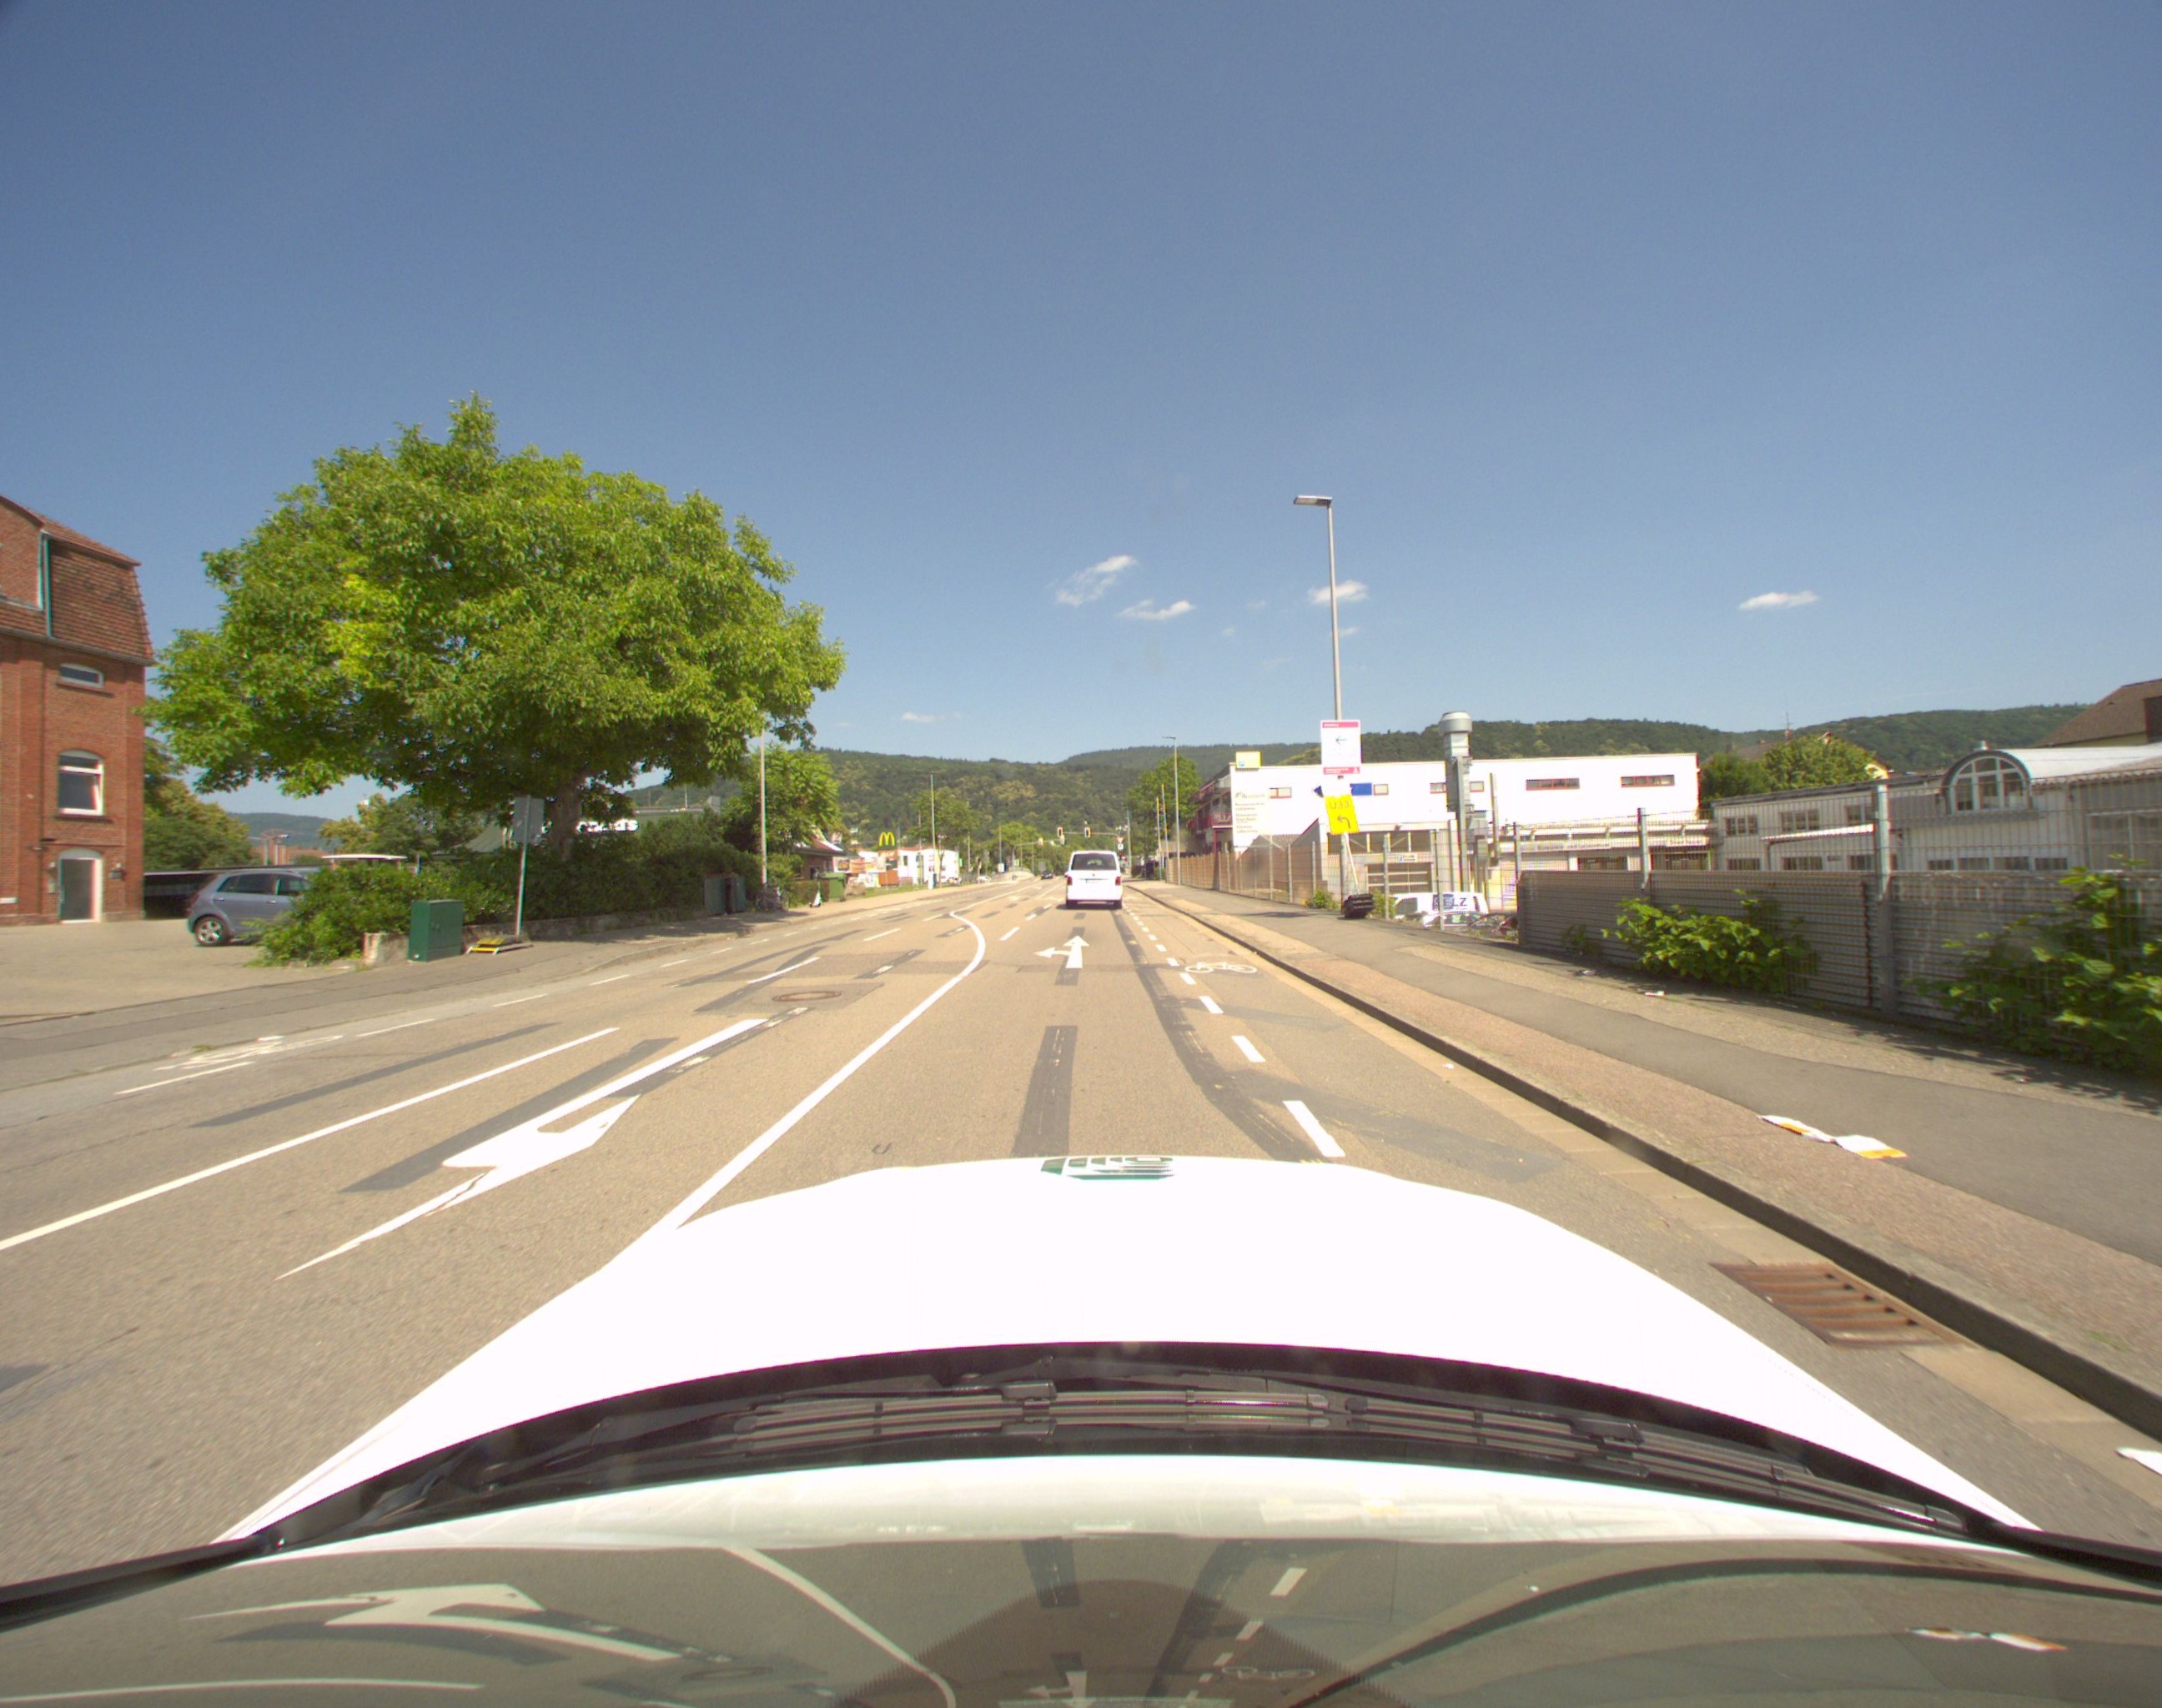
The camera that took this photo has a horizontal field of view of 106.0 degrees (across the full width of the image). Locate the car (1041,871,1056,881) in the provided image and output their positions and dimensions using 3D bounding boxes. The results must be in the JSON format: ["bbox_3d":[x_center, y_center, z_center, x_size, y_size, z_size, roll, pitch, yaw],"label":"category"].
[{"bbox_3d":[-5.021,3.449,126.316,1.987,1.370,4.327,-2,-1,1],"label":"car"}]

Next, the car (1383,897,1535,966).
[{"bbox_3d":[12.076,2.439,26.187,3.975,2.014,1.999,1,-1,-1],"label":"car"}]

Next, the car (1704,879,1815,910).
[{"bbox_3d":[32.369,1.932,38.930,3.814,1.405,1.868,1,-3,-3],"label":"car"}]

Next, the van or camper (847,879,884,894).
[{"bbox_3d":[-24.632,3.700,92.988,3.997,1.574,1.988,1,-1,-18],"label":"van or camper"}]

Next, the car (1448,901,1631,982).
[{"bbox_3d":[12.582,2.365,22.516,3.975,2.014,1.999,1,-1,-1],"label":"car"}]

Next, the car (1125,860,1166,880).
[{"bbox_3d":[6.437,1.590,81.057,3.966,1.775,2.004,-2,-1,6],"label":"car"}]

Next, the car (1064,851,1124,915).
[{"bbox_3d":[0.386,0.956,28.801,1.929,2.060,4.542,-1,-1,-1],"label":"car"}]

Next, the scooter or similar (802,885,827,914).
[{"bbox_3d":[-10.990,1.866,33.608,0.646,1.128,1.619,1,-1,-6],"label":"scooter or similar"}]

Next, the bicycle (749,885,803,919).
[{"bbox_3d":[-11.185,1.723,29.955,1.024,1.118,2.763,1,-1,-2],"label":"bicycle"}]

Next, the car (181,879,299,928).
[{"bbox_3d":[-31.175,1.845,30.170,4.421,1.633,2.169,-3,-1,32],"label":"car"}]

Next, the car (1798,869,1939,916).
[{"bbox_3d":[32.382,1.557,33.571,3.976,1.857,1.914,0,-2,-2],"label":"car"}]

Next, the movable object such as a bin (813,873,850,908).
[{"bbox_3d":[-12.056,1.750,39.375,1.447,1.590,1.303,-2,-1,-9],"label":"movable object such as a bin"}]

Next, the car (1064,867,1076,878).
[{"bbox_3d":[-1.740,2.987,130.016,1.843,1.588,4.000,-2,-1,1],"label":"car"}]

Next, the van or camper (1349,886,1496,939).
[{"bbox_3d":[11.881,2.007,28.515,4.305,1.651,2.017,-1,-1,-5],"label":"van or camper"}]

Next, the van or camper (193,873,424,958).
[{"bbox_3d":[-16.398,1.269,17.405,3.379,1.665,1.634,0,-1,2],"label":"van or camper"}]
